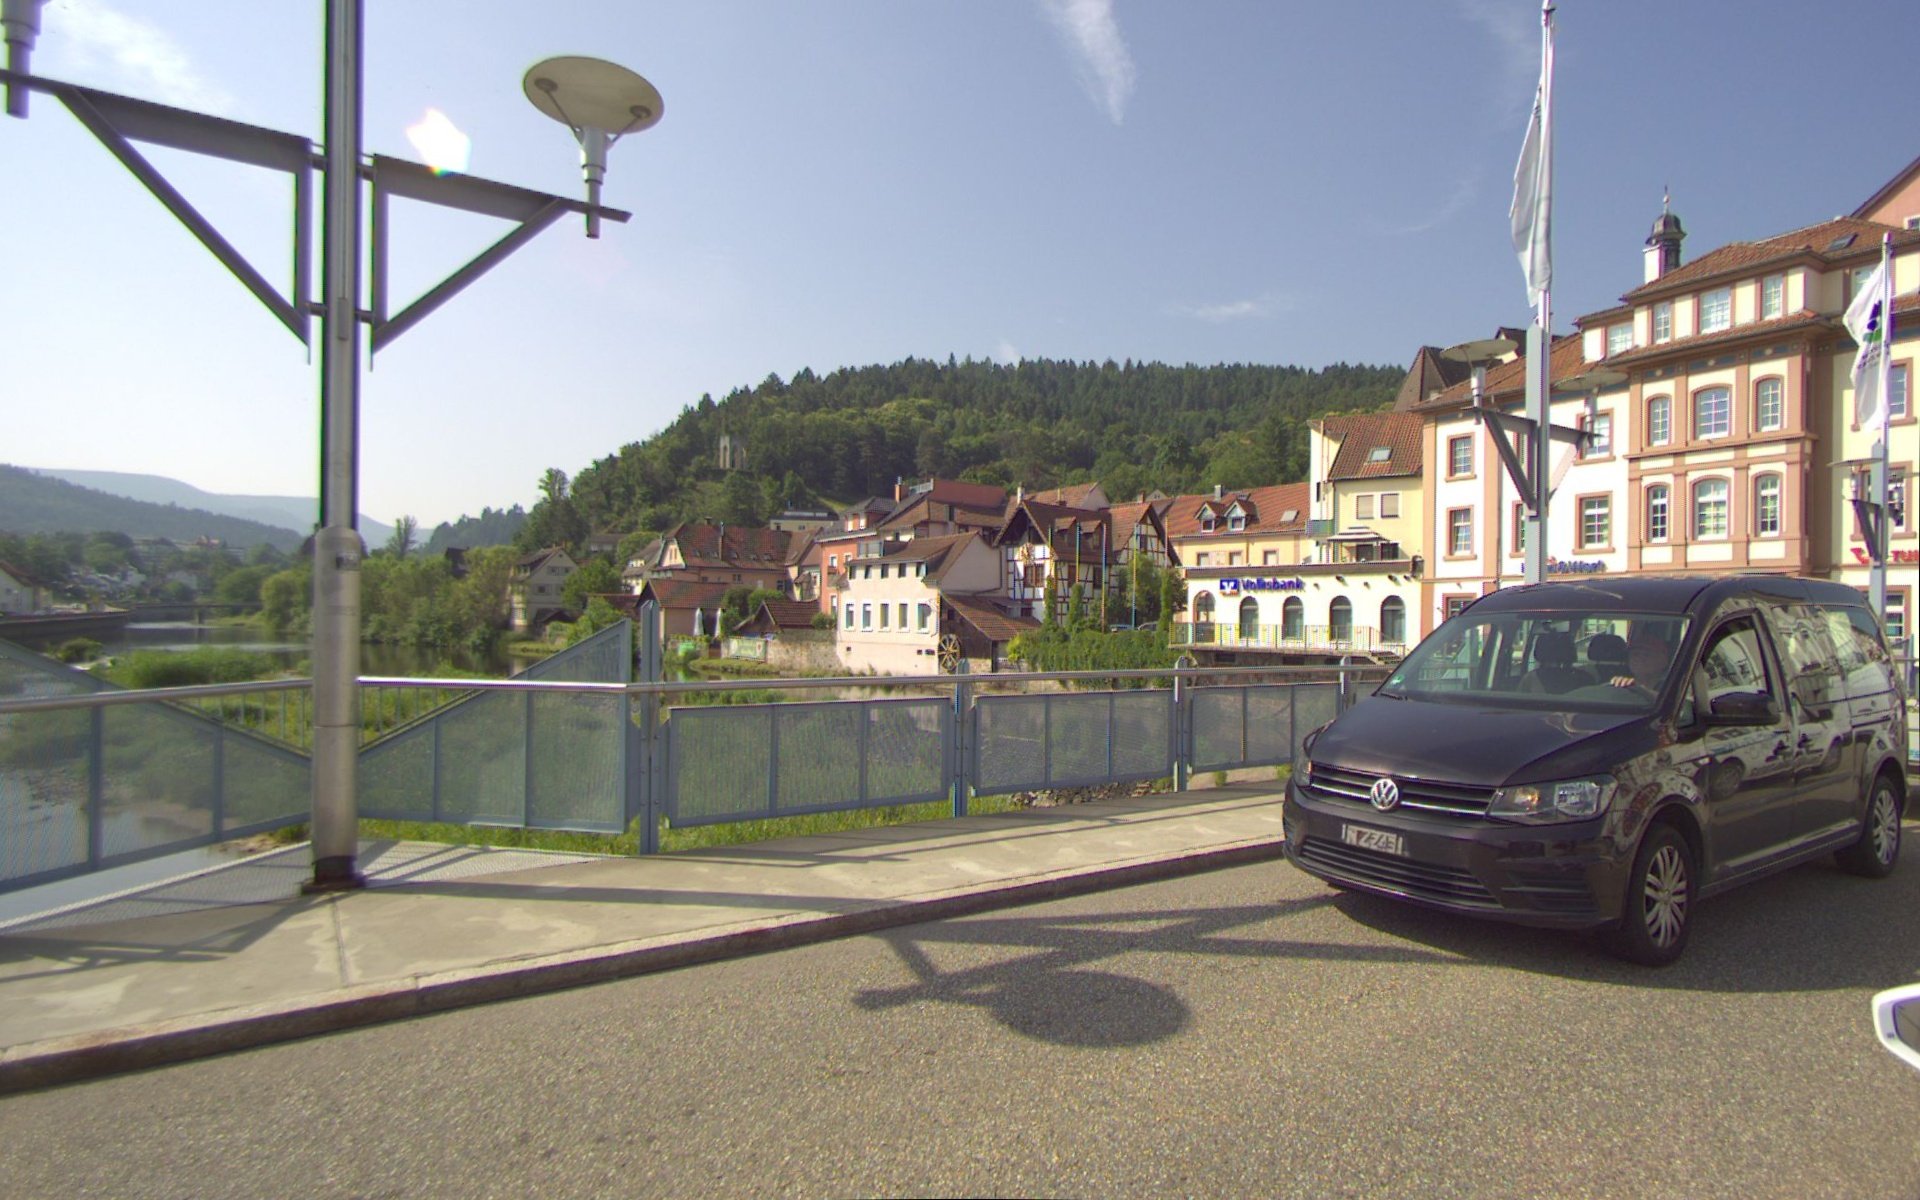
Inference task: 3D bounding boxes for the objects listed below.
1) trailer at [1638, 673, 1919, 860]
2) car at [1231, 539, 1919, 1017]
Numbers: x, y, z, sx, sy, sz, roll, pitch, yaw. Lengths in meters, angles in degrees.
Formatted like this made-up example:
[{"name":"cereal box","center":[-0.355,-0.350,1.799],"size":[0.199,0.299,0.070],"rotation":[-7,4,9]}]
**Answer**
[{"name":"trailer","center":[7.523,1.213,8.324],"size":[4.142,1.035,1.740],"rotation":[1,-2,-34]},{"name":"car","center":[3.845,0.692,5.854],"size":[4.647,1.816,1.766],"rotation":[1,0,-34]}]
